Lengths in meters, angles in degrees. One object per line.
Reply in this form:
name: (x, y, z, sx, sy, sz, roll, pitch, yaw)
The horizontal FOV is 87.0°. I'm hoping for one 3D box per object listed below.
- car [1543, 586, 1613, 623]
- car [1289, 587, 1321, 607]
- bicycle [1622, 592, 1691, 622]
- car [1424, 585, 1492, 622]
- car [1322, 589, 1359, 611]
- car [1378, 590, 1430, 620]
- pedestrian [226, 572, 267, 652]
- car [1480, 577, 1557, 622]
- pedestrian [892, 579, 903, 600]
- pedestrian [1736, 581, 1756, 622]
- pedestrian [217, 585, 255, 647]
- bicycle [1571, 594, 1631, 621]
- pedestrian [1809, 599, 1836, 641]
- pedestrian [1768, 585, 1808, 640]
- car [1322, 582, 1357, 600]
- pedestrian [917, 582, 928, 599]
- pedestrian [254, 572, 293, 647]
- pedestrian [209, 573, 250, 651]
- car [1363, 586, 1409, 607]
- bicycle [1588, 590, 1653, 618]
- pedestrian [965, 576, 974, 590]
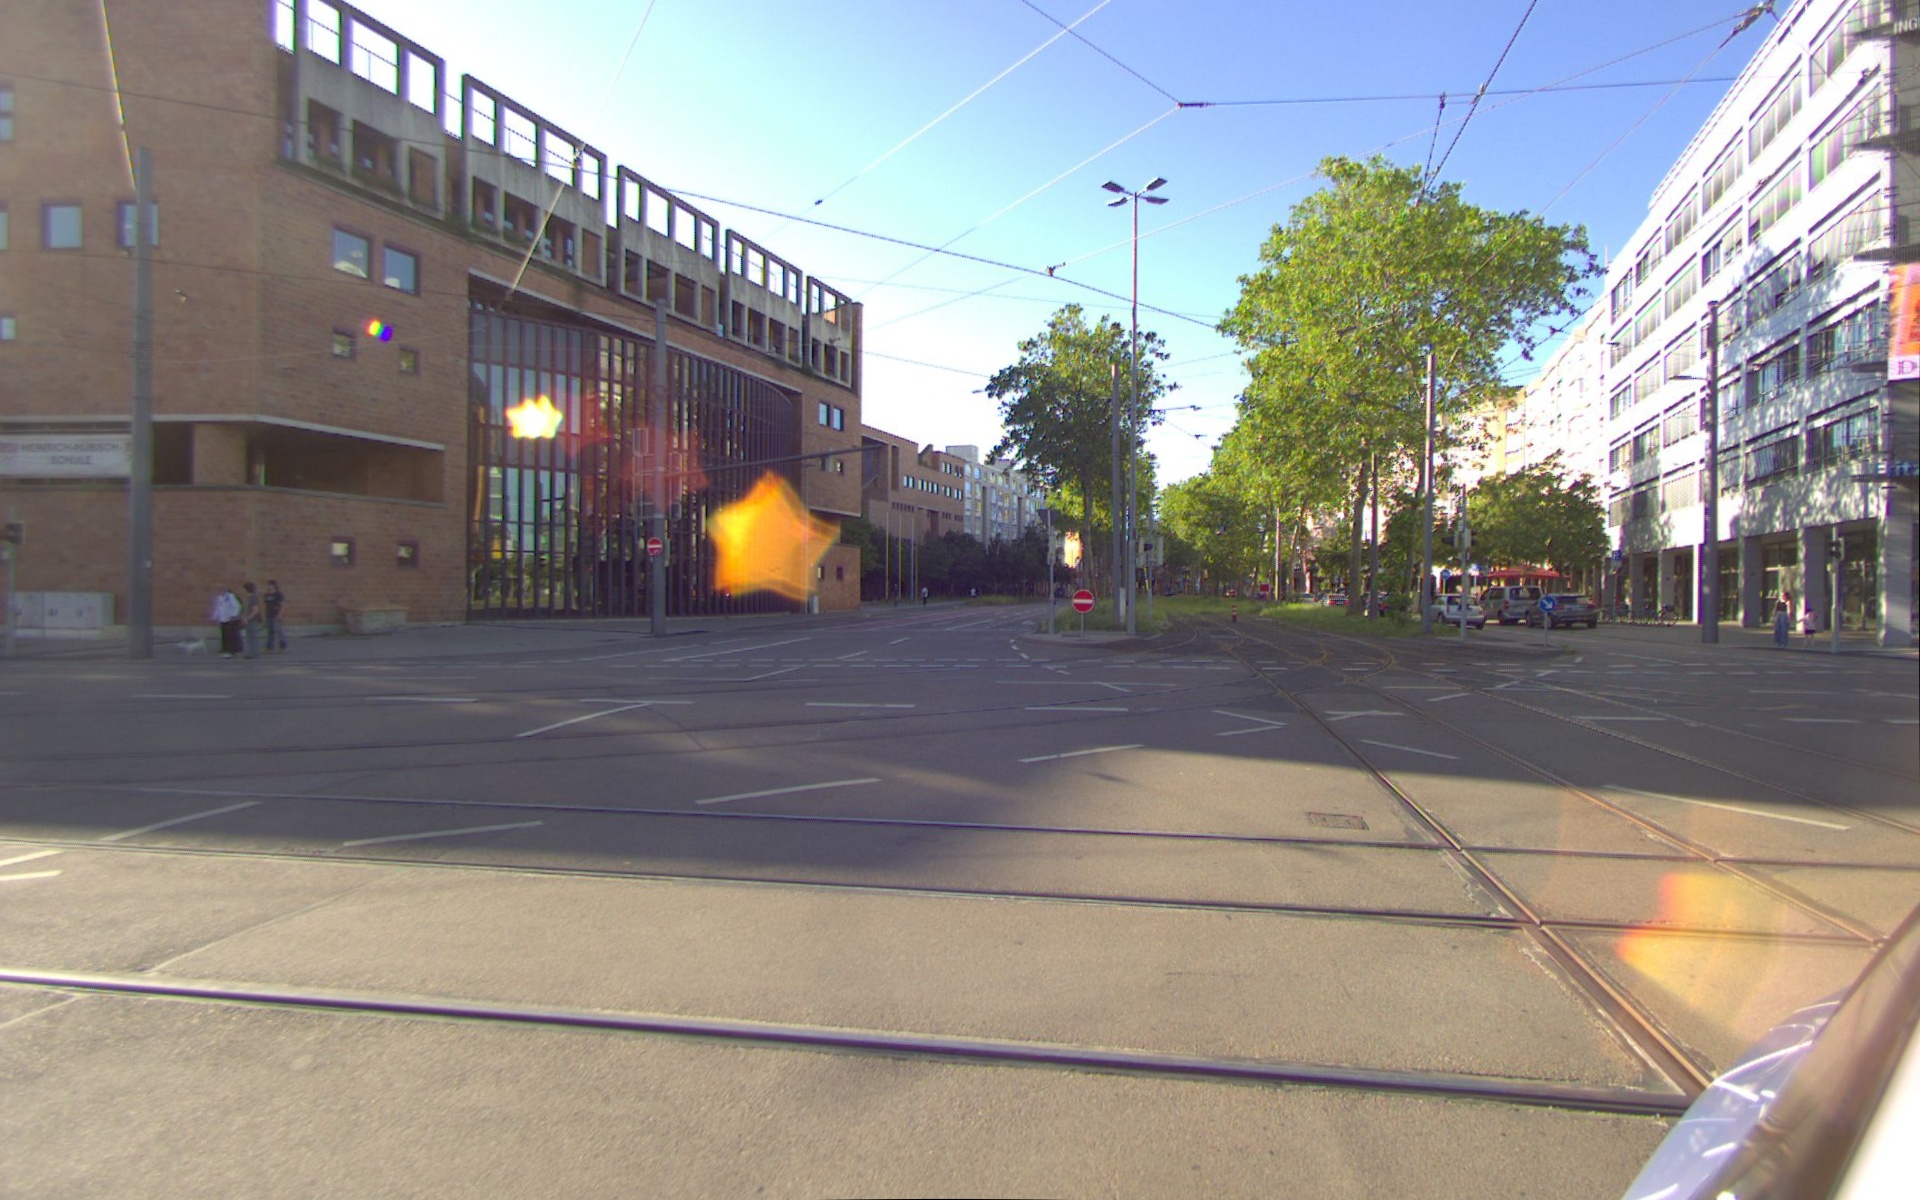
car: (26.654, 0.163, 43.778, 1.845, 1.493, 3.950, 1, 1, 21)
car: (27.549, -0.277, 80.933, 1.672, 1.493, 3.973, 1, 1, 8)
bicycle: (30.561, 0.302, 44.446, 2.368, 1.229, 0.769, 2, 0, 23)
car: (20.734, 0.126, 42.236, 1.641, 1.406, 3.524, 2, 1, 12)
car: (25.609, -0.020, 68.239, 1.673, 1.458, 4.006, 0, 0, 11)
car: (24.041, 0.258, 54.930, 1.839, 1.493, 3.963, 1, 1, 12)
pedestrian: (-16.480, 0.262, 23.392, 0.539, 1.808, 0.573, 0, 1, 1)
car: (27.178, -0.067, 49.424, 1.836, 2.041, 4.447, 1, 1, 9)
pedestrian: (-4.741, -0.803, 76.586, 0.796, 1.626, 0.688, 1, 1, -3)
pedestrian: (34.794, 0.069, 44.815, 0.581, 1.756, 0.785, 0, -1, 28)
pedestrian: (-18.061, 0.392, 25.261, 0.561, 1.495, 0.550, 1, 1, -9)
bicycle: (31.024, 0.359, 49.015, 2.351, 1.229, 0.775, 2, 0, 3)
pedestrian: (25.872, 0.596, 30.355, 0.437, 1.225, 0.459, 1, 0, 16)
pedestrian: (25.470, 0.372, 31.135, 0.652, 1.661, 0.789, 1, 0, 16)
car: (33.883, -0.820, 90.356, 1.834, 1.493, 3.974, 1, 1, 4)
pedestrian: (-3.148, -0.766, 84.936, 0.800, 1.401, 0.685, 1, 1, 12)
pedestrian: (-16.823, 0.229, 24.801, 0.539, 1.808, 0.573, 0, 1, 1)
pedestrian: (-17.144, 0.265, 23.771, 0.539, 1.808, 0.573, 0, 1, 1)
car: (30.820, -0.273, 73.348, 1.834, 1.493, 3.974, 1, 1, 4)
bicycle: (30.077, 0.172, 46.111, 2.351, 1.229, 0.775, 2, 0, 3)
pedestrian: (0.944, -1.780, 104.498, 0.800, 1.401, 0.685, 1, 1, 12)
